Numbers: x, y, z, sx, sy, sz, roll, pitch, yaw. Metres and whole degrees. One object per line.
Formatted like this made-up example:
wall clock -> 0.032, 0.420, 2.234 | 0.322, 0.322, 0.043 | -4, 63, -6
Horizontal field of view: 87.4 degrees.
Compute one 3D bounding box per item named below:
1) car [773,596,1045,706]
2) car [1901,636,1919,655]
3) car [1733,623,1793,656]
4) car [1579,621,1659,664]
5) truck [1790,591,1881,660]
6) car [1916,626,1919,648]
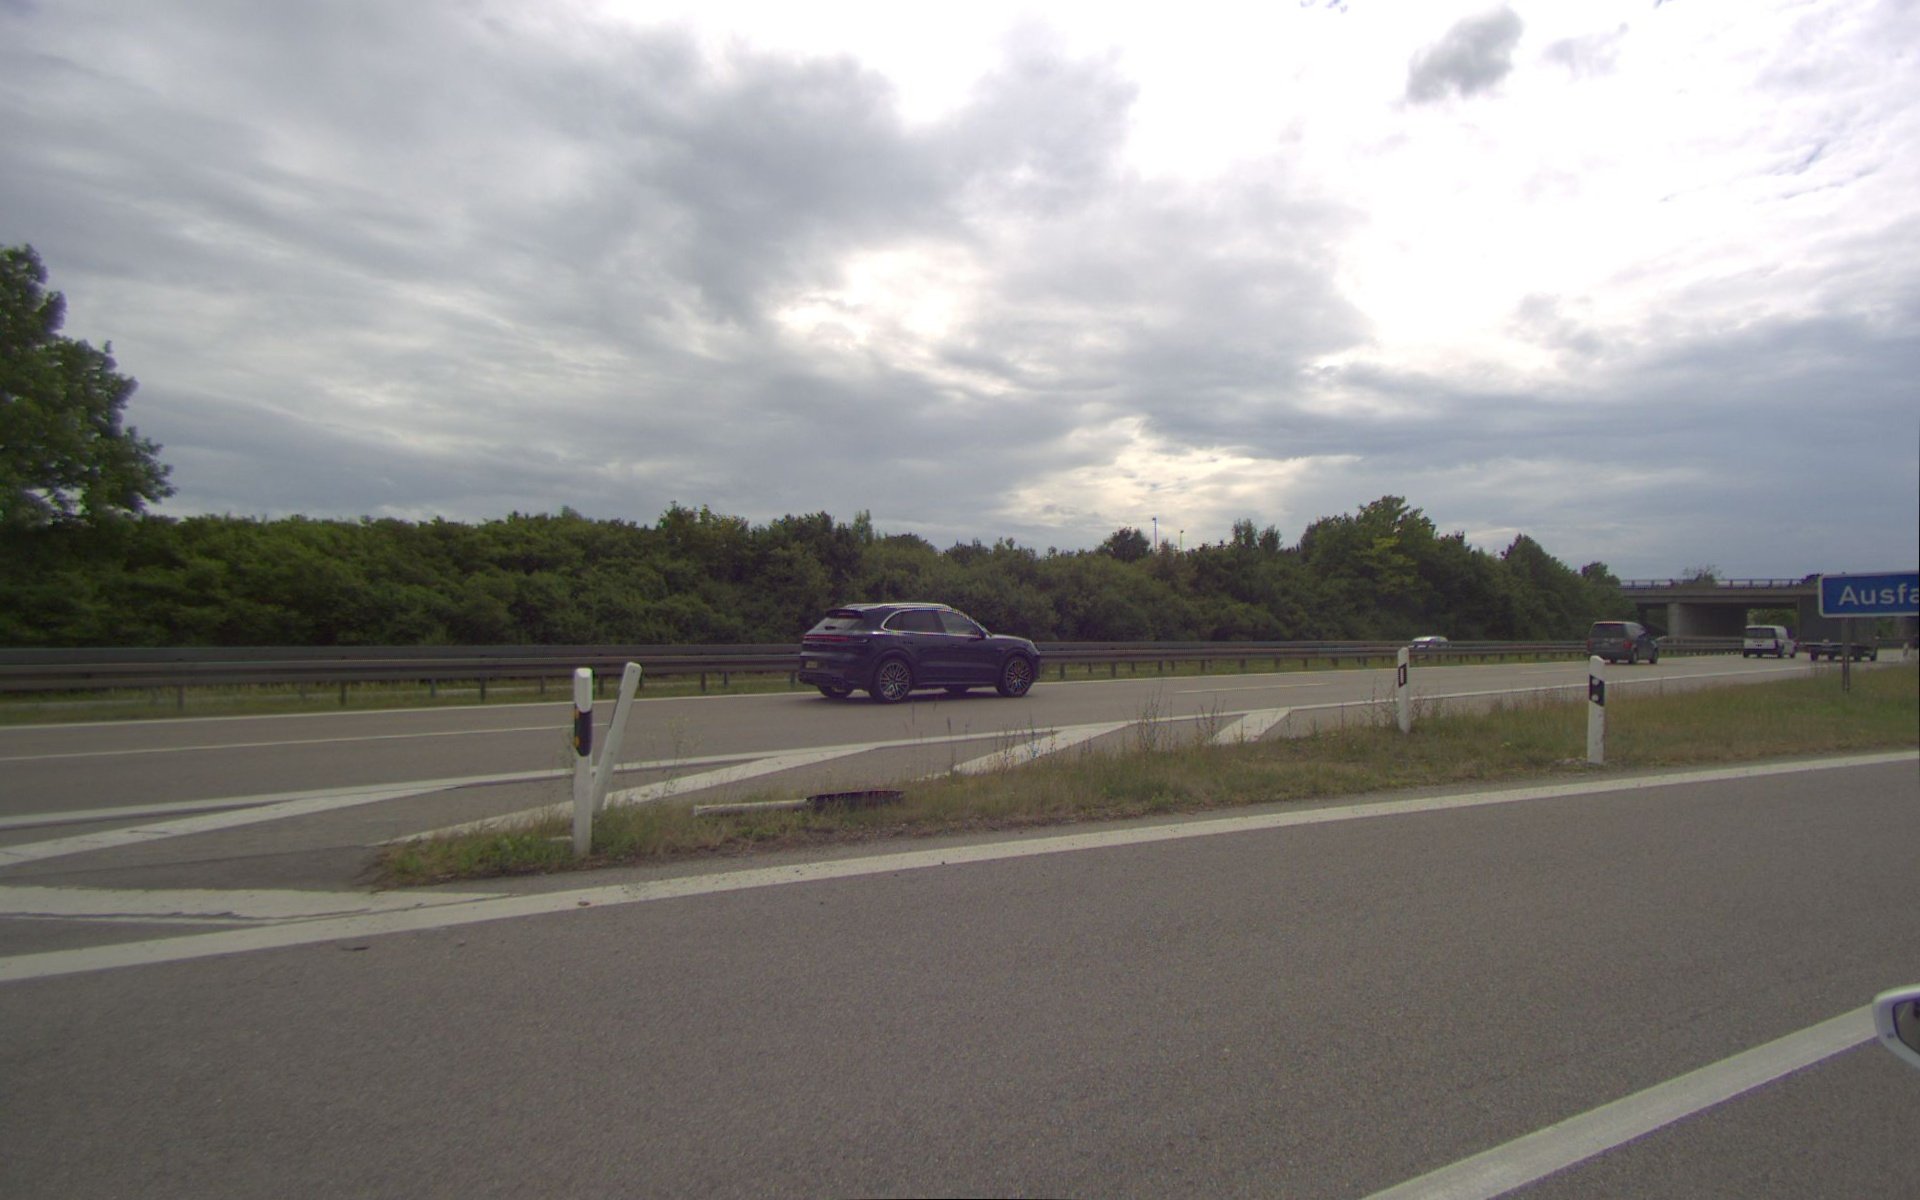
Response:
car -> -0.833, 0.904, 18.408 | 4.790, 1.766, 1.977 | 2, -3, -40
car -> 95.879, 4.505, 100.394 | 5.367, 1.809, 1.977 | 2, -2, -40
car -> 46.819, 2.277, 58.544 | 3.967, 1.834, 1.977 | 2, -2, -40
car -> 28.965, 1.834, 44.074 | 4.302, 1.782, 1.829 | 2, -2, -41
truck -> 46.327, 1.414, 53.067 | 7.860, 3.415, 2.447 | 2, -3, -40
car -> 79.536, 3.017, 81.809 | 4.449, 1.774, 1.861 | 2, -2, -39
